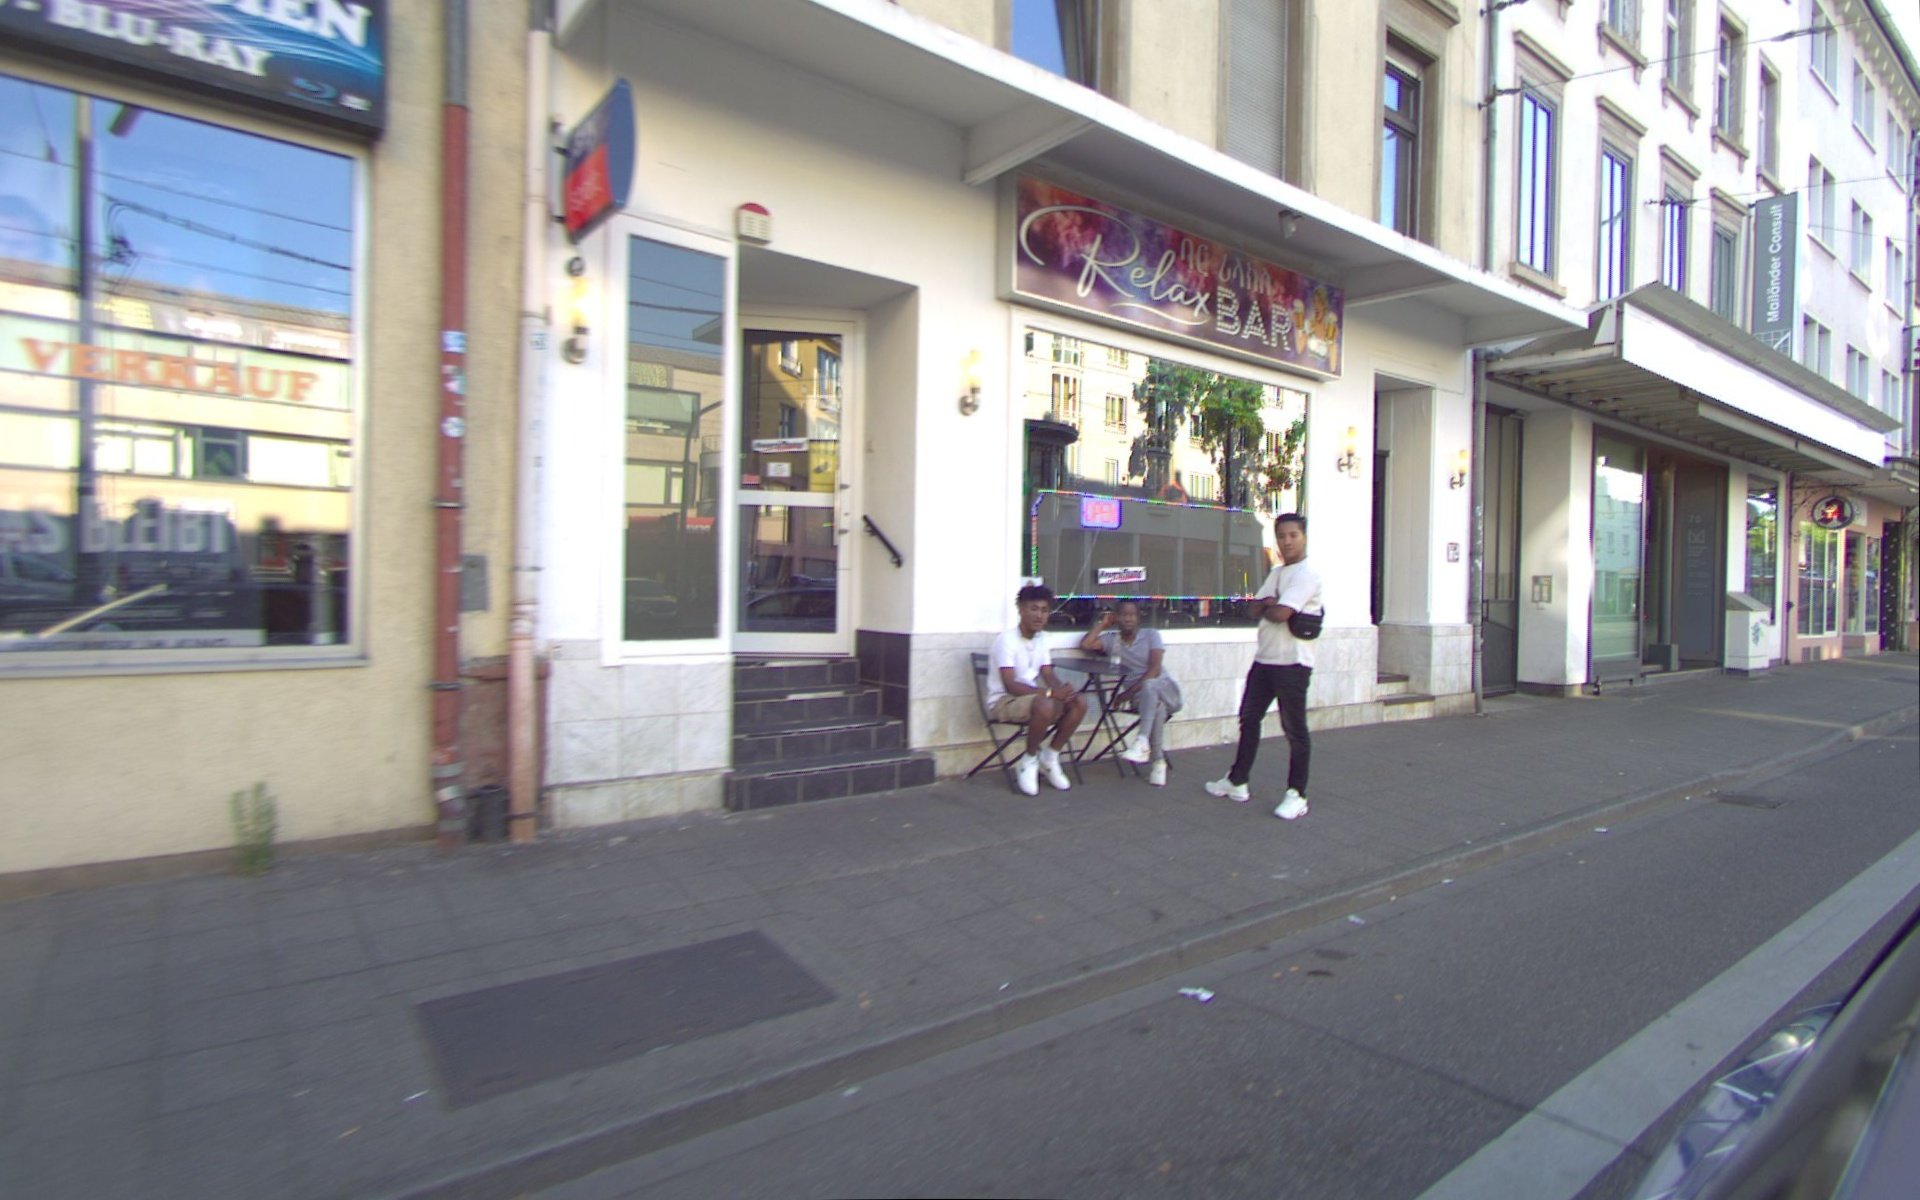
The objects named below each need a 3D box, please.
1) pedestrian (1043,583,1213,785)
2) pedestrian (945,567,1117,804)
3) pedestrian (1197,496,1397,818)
[{"bbox_3d":[1.179,0.523,7.005,0.703,1.188,1.004,9,6,33],"label":"pedestrian"},{"bbox_3d":[0.455,0.486,6.319,0.820,1.269,0.703,7,5,17],"label":"pedestrian"},{"bbox_3d":[2.037,0.319,6.205,0.665,1.832,0.709,3,5,-22],"label":"pedestrian"}]
